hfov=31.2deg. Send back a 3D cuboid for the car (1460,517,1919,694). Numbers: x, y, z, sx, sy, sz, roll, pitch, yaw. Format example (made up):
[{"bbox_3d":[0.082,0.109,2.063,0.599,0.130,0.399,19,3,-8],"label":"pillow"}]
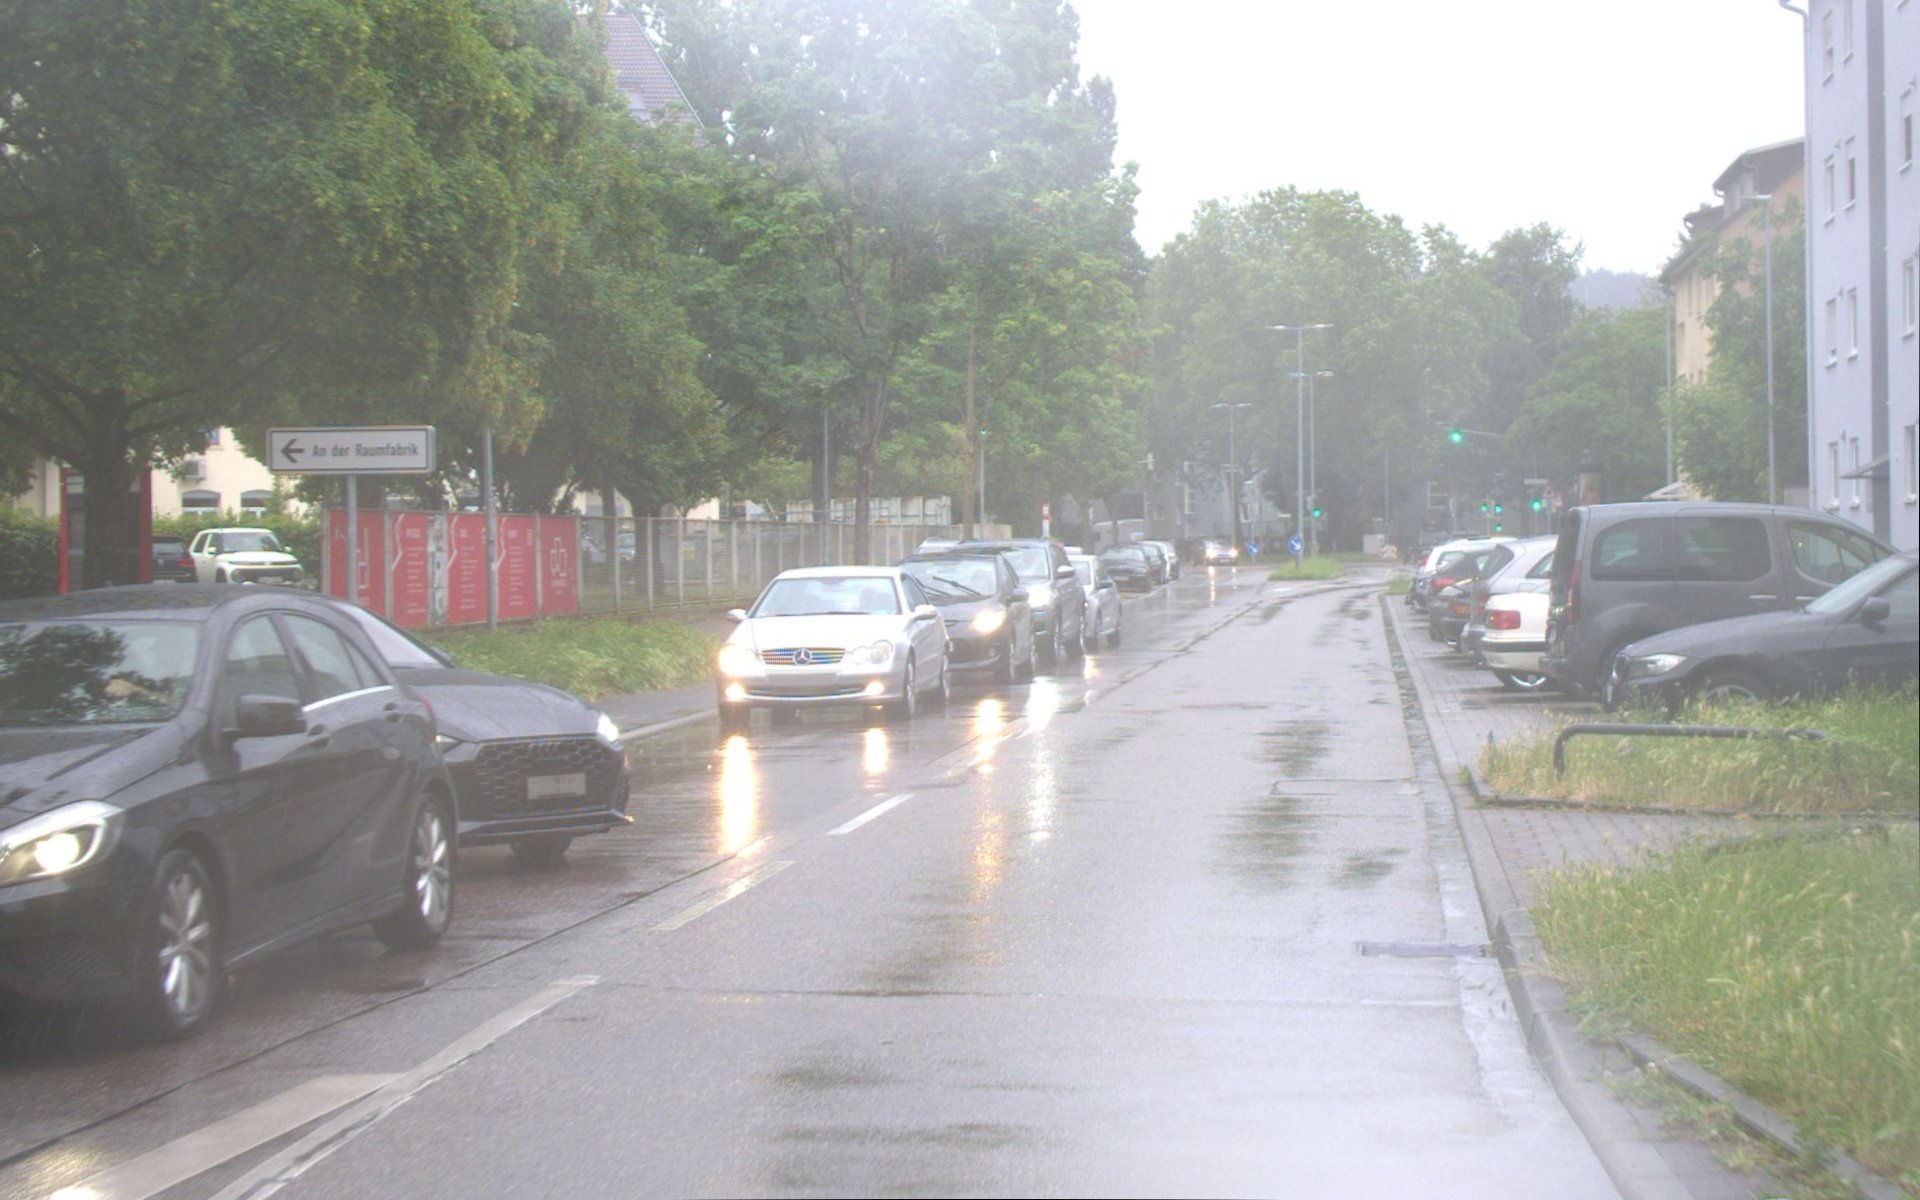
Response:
[{"bbox_3d":[6.902,0.042,32.460,4.190,1.563,1.888,-1,1,5],"label":"car"}]

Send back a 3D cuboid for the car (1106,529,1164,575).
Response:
[{"bbox_3d":[6.025,-1.663,118.201,1.929,1.479,4.000,-1,1,4],"label":"car"}]

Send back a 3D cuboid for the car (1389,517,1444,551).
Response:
[{"bbox_3d":[21.196,-3.065,159.626,1.849,1.519,4.001,-1,1,-2],"label":"car"}]

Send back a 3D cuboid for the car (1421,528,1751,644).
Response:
[{"bbox_3d":[8.167,-0.192,45.209,4.144,1.481,2.012,0,1,7],"label":"car"}]

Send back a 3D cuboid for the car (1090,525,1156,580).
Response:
[{"bbox_3d":[4.889,-1.452,103.430,1.775,1.524,4.001,0,3,0],"label":"car"}]

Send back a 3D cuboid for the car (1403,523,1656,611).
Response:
[{"bbox_3d":[10.108,-0.589,61.330,4.342,1.546,2.040,0,1,6],"label":"car"}]

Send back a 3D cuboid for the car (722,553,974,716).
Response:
[{"bbox_3d":[-0.959,0.265,32.135,1.775,1.398,4.829,0,1,5],"label":"car"}]

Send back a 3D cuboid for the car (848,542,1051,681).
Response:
[{"bbox_3d":[-0.061,0.091,39.273,1.779,1.415,4.264,-1,2,7],"label":"car"}]

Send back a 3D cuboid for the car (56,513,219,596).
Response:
[{"bbox_3d":[-16.468,-0.893,68.713,1.993,1.552,4.000,-1,0,-32],"label":"car"}]

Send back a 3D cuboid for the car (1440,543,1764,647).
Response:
[{"bbox_3d":[7.930,-0.072,42.681,3.855,1.203,1.955,-1,1,9],"label":"car"}]

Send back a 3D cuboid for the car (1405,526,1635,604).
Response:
[{"bbox_3d":[10.807,-0.680,66.242,4.271,1.449,1.983,0,2,12],"label":"car"}]

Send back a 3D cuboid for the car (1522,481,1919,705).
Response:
[{"bbox_3d":[7.134,-0.085,29.858,4.232,1.799,1.945,-2,1,4],"label":"car"}]

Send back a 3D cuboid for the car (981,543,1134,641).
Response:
[{"bbox_3d":[1.516,-0.150,52.056,1.673,1.378,4.250,-1,1,10],"label":"car"}]

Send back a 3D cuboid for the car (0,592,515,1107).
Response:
[{"bbox_3d":[-3.011,0.728,12.040,1.727,1.356,4.336,-2,1,8],"label":"car"}]

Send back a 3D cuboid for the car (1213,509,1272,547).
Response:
[{"bbox_3d":[15.173,-3.857,184.784,1.993,2.007,4.001,-1,1,-12],"label":"car"}]

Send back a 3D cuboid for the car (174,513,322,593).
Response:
[{"bbox_3d":[-14.501,-0.933,69.887,1.845,1.567,4.000,-1,0,-29],"label":"car"}]

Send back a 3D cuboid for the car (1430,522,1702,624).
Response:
[{"bbox_3d":[9.306,-0.419,53.015,3.988,1.546,1.852,0,1,5],"label":"car"}]

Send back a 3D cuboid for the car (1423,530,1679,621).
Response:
[{"bbox_3d":[9.518,-0.399,55.619,3.988,1.437,1.781,0,1,6],"label":"car"}]

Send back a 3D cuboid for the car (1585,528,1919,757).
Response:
[{"bbox_3d":[6.635,0.239,23.430,4.534,1.465,1.983,-1,1,7],"label":"car"}]

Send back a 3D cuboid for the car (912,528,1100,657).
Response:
[{"bbox_3d":[0.683,-0.141,46.073,1.915,1.634,4.820,0,1,8],"label":"car"}]

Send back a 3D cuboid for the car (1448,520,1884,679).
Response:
[{"bbox_3d":[7.128,-0.020,35.064,4.182,1.566,1.890,0,1,6],"label":"car"}]

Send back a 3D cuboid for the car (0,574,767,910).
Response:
[{"bbox_3d":[-3.536,0.637,17.795,4.923,1.449,2.081,0,2,39],"label":"car"}]
